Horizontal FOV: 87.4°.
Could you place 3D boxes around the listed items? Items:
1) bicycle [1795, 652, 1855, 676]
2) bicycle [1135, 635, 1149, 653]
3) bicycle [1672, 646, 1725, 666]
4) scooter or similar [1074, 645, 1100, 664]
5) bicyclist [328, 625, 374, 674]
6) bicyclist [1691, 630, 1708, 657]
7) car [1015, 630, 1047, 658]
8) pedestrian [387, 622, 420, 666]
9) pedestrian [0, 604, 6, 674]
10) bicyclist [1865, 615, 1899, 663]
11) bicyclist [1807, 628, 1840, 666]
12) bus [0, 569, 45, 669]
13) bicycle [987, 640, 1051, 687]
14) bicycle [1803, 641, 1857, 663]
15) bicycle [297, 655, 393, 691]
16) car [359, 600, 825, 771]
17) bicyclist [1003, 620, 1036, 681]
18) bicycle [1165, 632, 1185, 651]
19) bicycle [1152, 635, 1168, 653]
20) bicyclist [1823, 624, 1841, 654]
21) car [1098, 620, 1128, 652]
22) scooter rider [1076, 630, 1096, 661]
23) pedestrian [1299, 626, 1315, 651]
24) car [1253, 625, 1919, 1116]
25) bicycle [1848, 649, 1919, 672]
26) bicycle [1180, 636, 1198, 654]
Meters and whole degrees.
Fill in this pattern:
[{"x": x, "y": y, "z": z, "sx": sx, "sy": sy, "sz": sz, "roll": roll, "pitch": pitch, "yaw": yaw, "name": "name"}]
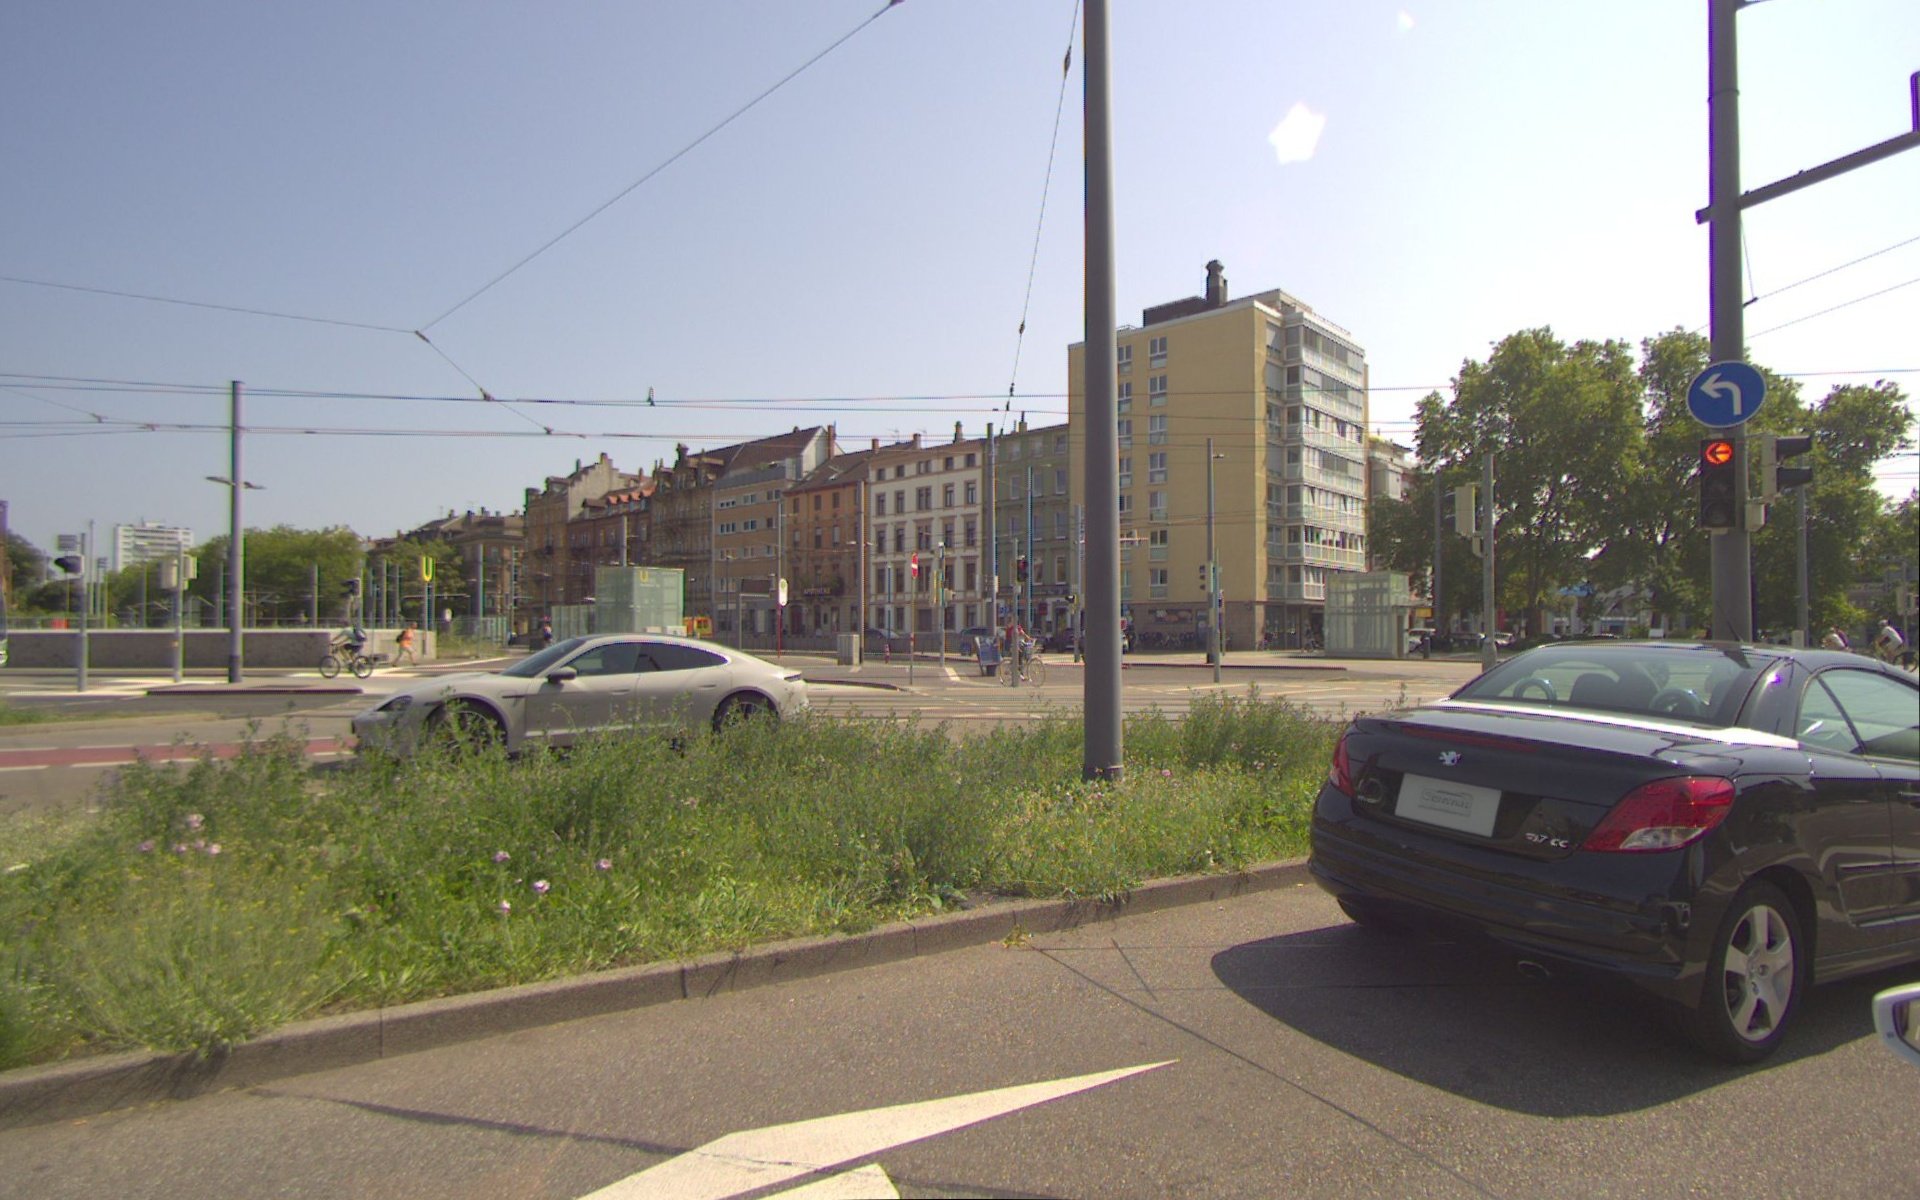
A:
[{"x": 35.831, "y": 2.641, "z": 41.646, "sx": 0.561, "sy": 0.954, "sz": 1.804, "roll": 1, "pitch": -2, "yaw": -32, "name": "bicycle"}, {"x": 12.796, "y": 3.055, "z": 70.515, "sx": 0.680, "sy": 1.220, "sz": 2.792, "roll": 0, "pitch": -2, "yaw": 4, "name": "bicycle"}, {"x": 35.535, "y": 2.688, "z": 48.369, "sx": 0.464, "sy": 0.954, "sz": 2.014, "roll": 2, "pitch": -2, "yaw": -42, "name": "bicycle"}, {"x": 5.740, "y": 2.473, "z": 45.376, "sx": 1.133, "sy": 0.835, "sz": 0.517, "roll": 1, "pitch": -2, "yaw": -36, "name": "scooter or similar"}, {"x": -18.763, "y": 1.520, "z": 30.943, "sx": 0.989, "sy": 1.446, "sz": 0.655, "roll": 2, "pitch": 0, "yaw": -6, "name": "bicyclist"}, {"x": 35.544, "y": 2.096, "z": 48.293, "sx": 0.555, "sy": 1.310, "sz": 0.539, "roll": 1, "pitch": -2, "yaw": -41, "name": "bicyclist"}, {"x": 4.831, "y": 2.934, "z": 67.687, "sx": 1.767, "sy": 1.843, "sz": 4.003, "roll": 0, "pitch": -2, "yaw": 10, "name": "car"}, {"x": -20.357, "y": 1.605, "z": 36.739, "sx": 0.843, "sy": 1.563, "sz": 0.742, "roll": 1, "pitch": -1, "yaw": -11, "name": "pedestrian"}, {"x": -25.453, "y": 1.029, "z": 26.214, "sx": 0.630, "sy": 1.835, "sz": 0.597, "roll": 2, "pitch": 0, "yaw": -27, "name": "pedestrian"}, {"x": 35.770, "y": 1.514, "z": 38.955, "sx": 0.494, "sy": 1.831, "sz": 0.915, "roll": 1, "pitch": -2, "yaw": -42, "name": "bicyclist"}, {"x": 35.814, "y": 1.943, "z": 41.679, "sx": 0.553, "sy": 1.528, "sz": 0.905, "roll": 1, "pitch": -2, "yaw": -32, "name": "bicyclist"}, {"x": -32.665, "y": 0.495, "z": 27.312, "sx": 12.103, "sy": 2.748, "sz": 3.405, "roll": 0, "pitch": -1, "yaw": -2, "name": "bus"}, {"x": 1.470, "y": 1.575, "z": 25.362, "sx": 0.499, "sy": 1.108, "sz": 1.918, "roll": 1, "pitch": -2, "yaw": -36, "name": "bicycle"}, {"x": 39.473, "y": 2.350, "z": 45.602, "sx": 0.413, "sy": 0.954, "sz": 1.797, "roll": 2, "pitch": -2, "yaw": -42, "name": "bicycle"}, {"x": -18.880, "y": 2.250, "z": 30.900, "sx": 2.316, "sy": 1.056, "sz": 0.962, "roll": 0, "pitch": -2, "yaw": -3, "name": "bicycle"}, {"x": -4.077, "y": 0.862, "z": 11.455, "sx": 4.658, "sy": 1.606, "sz": 1.985, "roll": 1, "pitch": -2, "yaw": -29, "name": "car"}, {"x": 1.500, "y": 1.272, "z": 25.485, "sx": 0.632, "sy": 1.529, "sz": 0.553, "roll": 1, "pitch": -1, "yaw": -36, "name": "bicyclist"}, {"x": 14.684, "y": 2.815, "z": 68.659, "sx": 0.892, "sy": 1.220, "sz": 3.265, "roll": 0, "pitch": -2, "yaw": 4, "name": "bicycle"}, {"x": 13.852, "y": 3.054, "z": 69.583, "sx": 0.680, "sy": 1.220, "sz": 3.265, "roll": 0, "pitch": -2, "yaw": 4, "name": "bicycle"}, {"x": 39.462, "y": 1.763, "z": 45.467, "sx": 0.555, "sy": 1.310, "sz": 0.539, "roll": 1, "pitch": -2, "yaw": -41, "name": "bicyclist"}, {"x": 9.586, "y": 2.259, "z": 62.832, "sx": 1.767, "sy": 1.951, "sz": 4.003, "roll": 0, "pitch": -2, "yaw": 10, "name": "car"}, {"x": 5.716, "y": 2.047, "z": 45.472, "sx": 0.602, "sy": 1.371, "sz": 0.682, "roll": 1, "pitch": -1, "yaw": -35, "name": "scooter rider"}, {"x": 21.888, "y": 2.402, "z": 63.334, "sx": 0.843, "sy": 1.563, "sz": 0.743, "roll": 0, "pitch": -2, "yaw": 25, "name": "pedestrian"}, {"x": 3.387, "y": 0.855, "z": 4.612, "sx": 3.732, "sy": 1.406, "sz": 1.759, "roll": 1, "pitch": 0, "yaw": -27, "name": "car"}, {"x": 35.800, "y": 2.331, "z": 38.918, "sx": 0.476, "sy": 0.813, "sz": 2.030, "roll": 2, "pitch": -2, "yaw": -42, "name": "bicycle"}, {"x": 15.473, "y": 3.029, "z": 68.023, "sx": 0.680, "sy": 1.220, "sz": 3.265, "roll": 0, "pitch": -2, "yaw": 4, "name": "bicycle"}]
